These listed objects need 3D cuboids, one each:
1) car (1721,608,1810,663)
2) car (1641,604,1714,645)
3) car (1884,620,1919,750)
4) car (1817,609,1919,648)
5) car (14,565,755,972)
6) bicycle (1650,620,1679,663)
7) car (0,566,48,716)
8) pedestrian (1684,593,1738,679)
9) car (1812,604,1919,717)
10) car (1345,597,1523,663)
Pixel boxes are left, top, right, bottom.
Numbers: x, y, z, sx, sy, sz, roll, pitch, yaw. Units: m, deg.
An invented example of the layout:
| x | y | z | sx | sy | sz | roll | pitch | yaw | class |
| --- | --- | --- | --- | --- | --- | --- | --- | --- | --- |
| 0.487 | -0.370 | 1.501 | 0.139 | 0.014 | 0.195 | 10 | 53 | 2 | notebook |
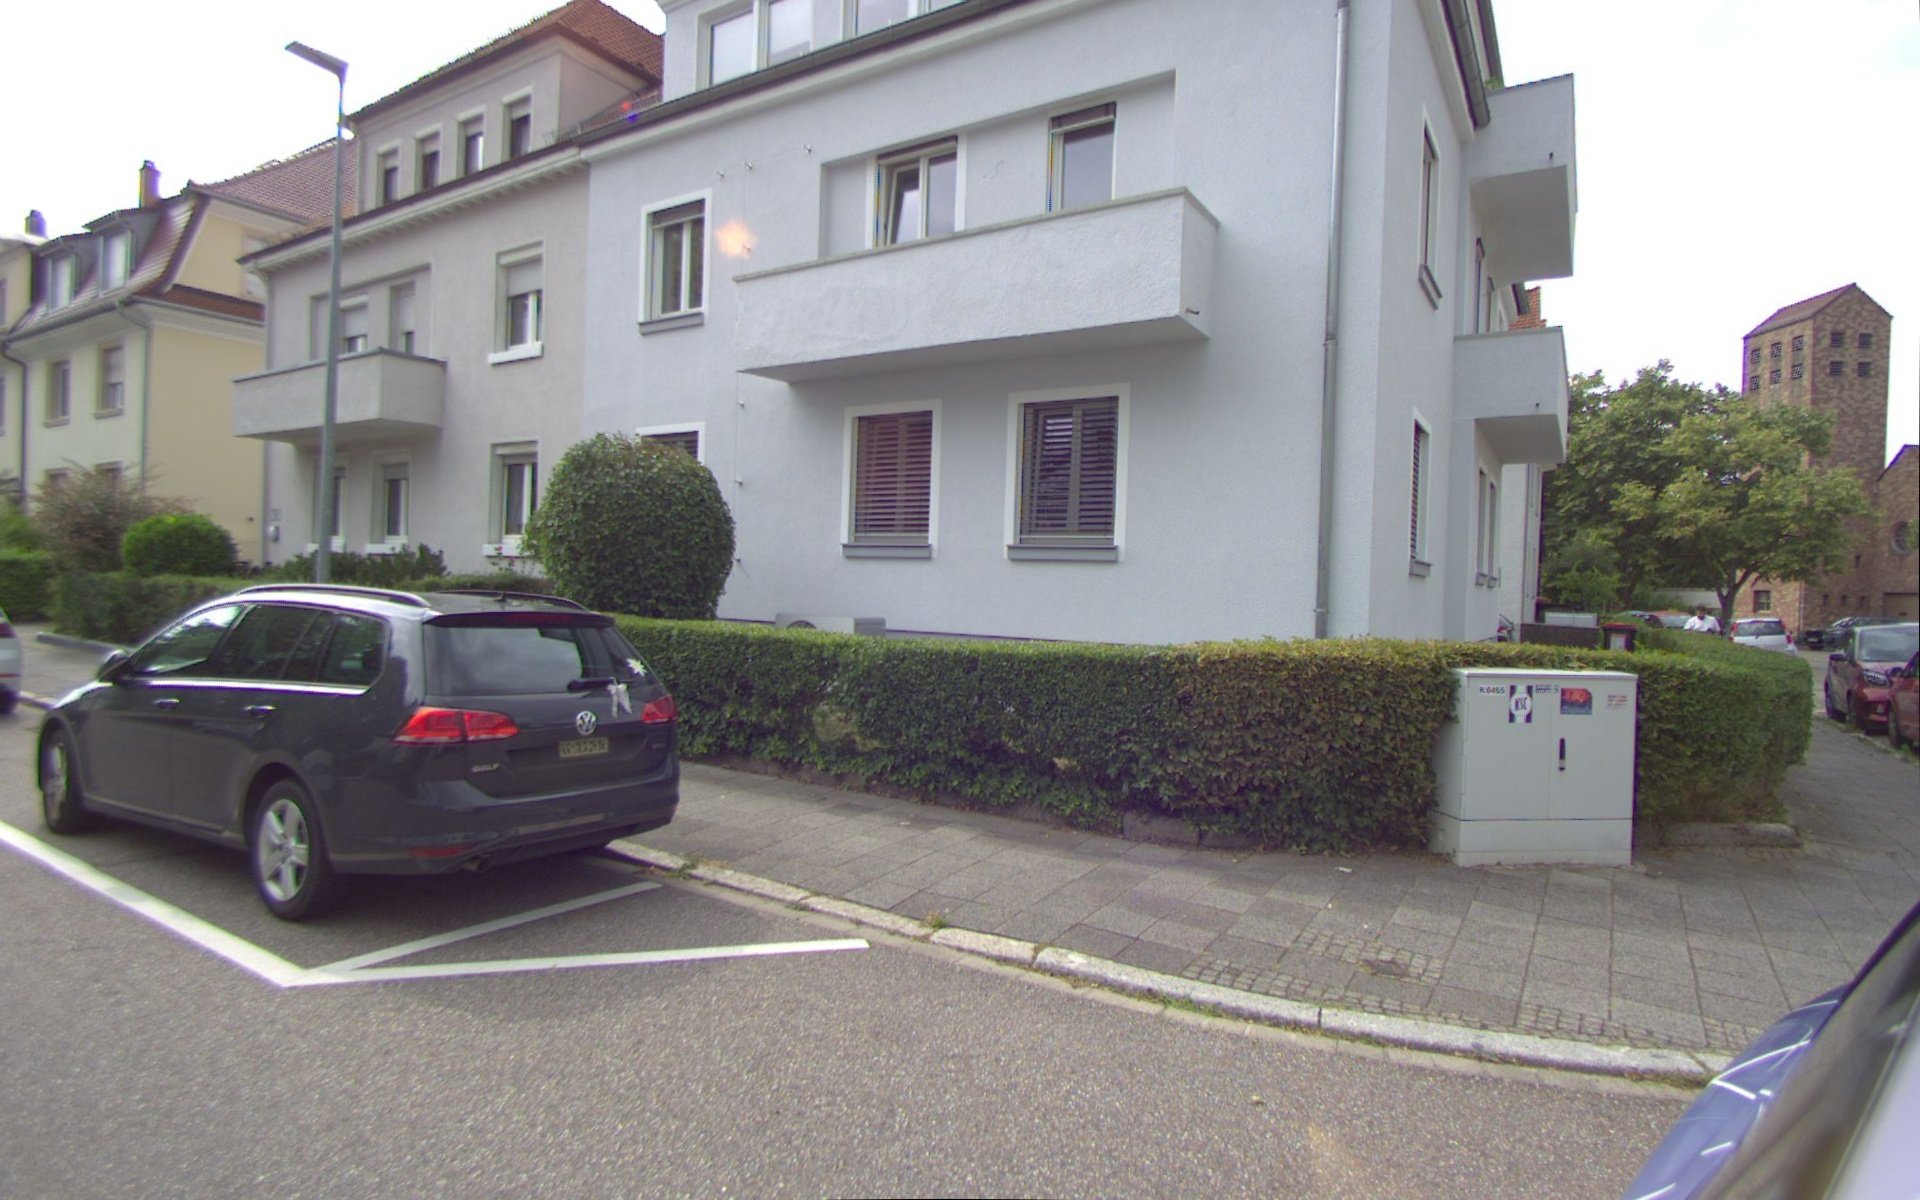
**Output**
| x | y | z | sx | sy | sz | roll | pitch | yaw | class |
| --- | --- | --- | --- | --- | --- | --- | --- | --- | --- |
| 24.080 | 1.029 | 30.363 | 1.638 | 1.515 | 3.441 | -2 | -1 | 32 | car |
| 27.732 | 0.931 | 39.229 | 1.633 | 1.515 | 3.452 | -1 | -1 | 25 | car |
| 11.963 | 1.008 | 11.398 | 1.638 | 1.515 | 3.441 | -2 | -1 | 32 | car |
| 40.723 | 1.237 | 44.632 | 4.198 | 1.482 | 1.665 | 3 | 3 | 33 | car |
| -3.367 | 0.613 | 5.758 | 4.141 | 1.490 | 1.840 | 2 | 1 | 30 | car |
| 20.130 | 1.168 | 28.950 | 0.419 | 1.117 | 2.094 | 2 | 1 | 28 | bicycle |
| -11.666 | 0.342 | 10.915 | 4.148 | 1.490 | 1.836 | 3 | 1 | 35 | car |
| 17.283 | 0.802 | 23.317 | 0.878 | 1.902 | 1.066 | 2 | 1 | 33 | pedestrian |
| 14.132 | 0.834 | 15.107 | 1.638 | 1.515 | 3.441 | -2 | -1 | 32 | car |
| 12.489 | 0.743 | 26.718 | 3.973 | 1.482 | 1.975 | 2 | 1 | 34 | car |
